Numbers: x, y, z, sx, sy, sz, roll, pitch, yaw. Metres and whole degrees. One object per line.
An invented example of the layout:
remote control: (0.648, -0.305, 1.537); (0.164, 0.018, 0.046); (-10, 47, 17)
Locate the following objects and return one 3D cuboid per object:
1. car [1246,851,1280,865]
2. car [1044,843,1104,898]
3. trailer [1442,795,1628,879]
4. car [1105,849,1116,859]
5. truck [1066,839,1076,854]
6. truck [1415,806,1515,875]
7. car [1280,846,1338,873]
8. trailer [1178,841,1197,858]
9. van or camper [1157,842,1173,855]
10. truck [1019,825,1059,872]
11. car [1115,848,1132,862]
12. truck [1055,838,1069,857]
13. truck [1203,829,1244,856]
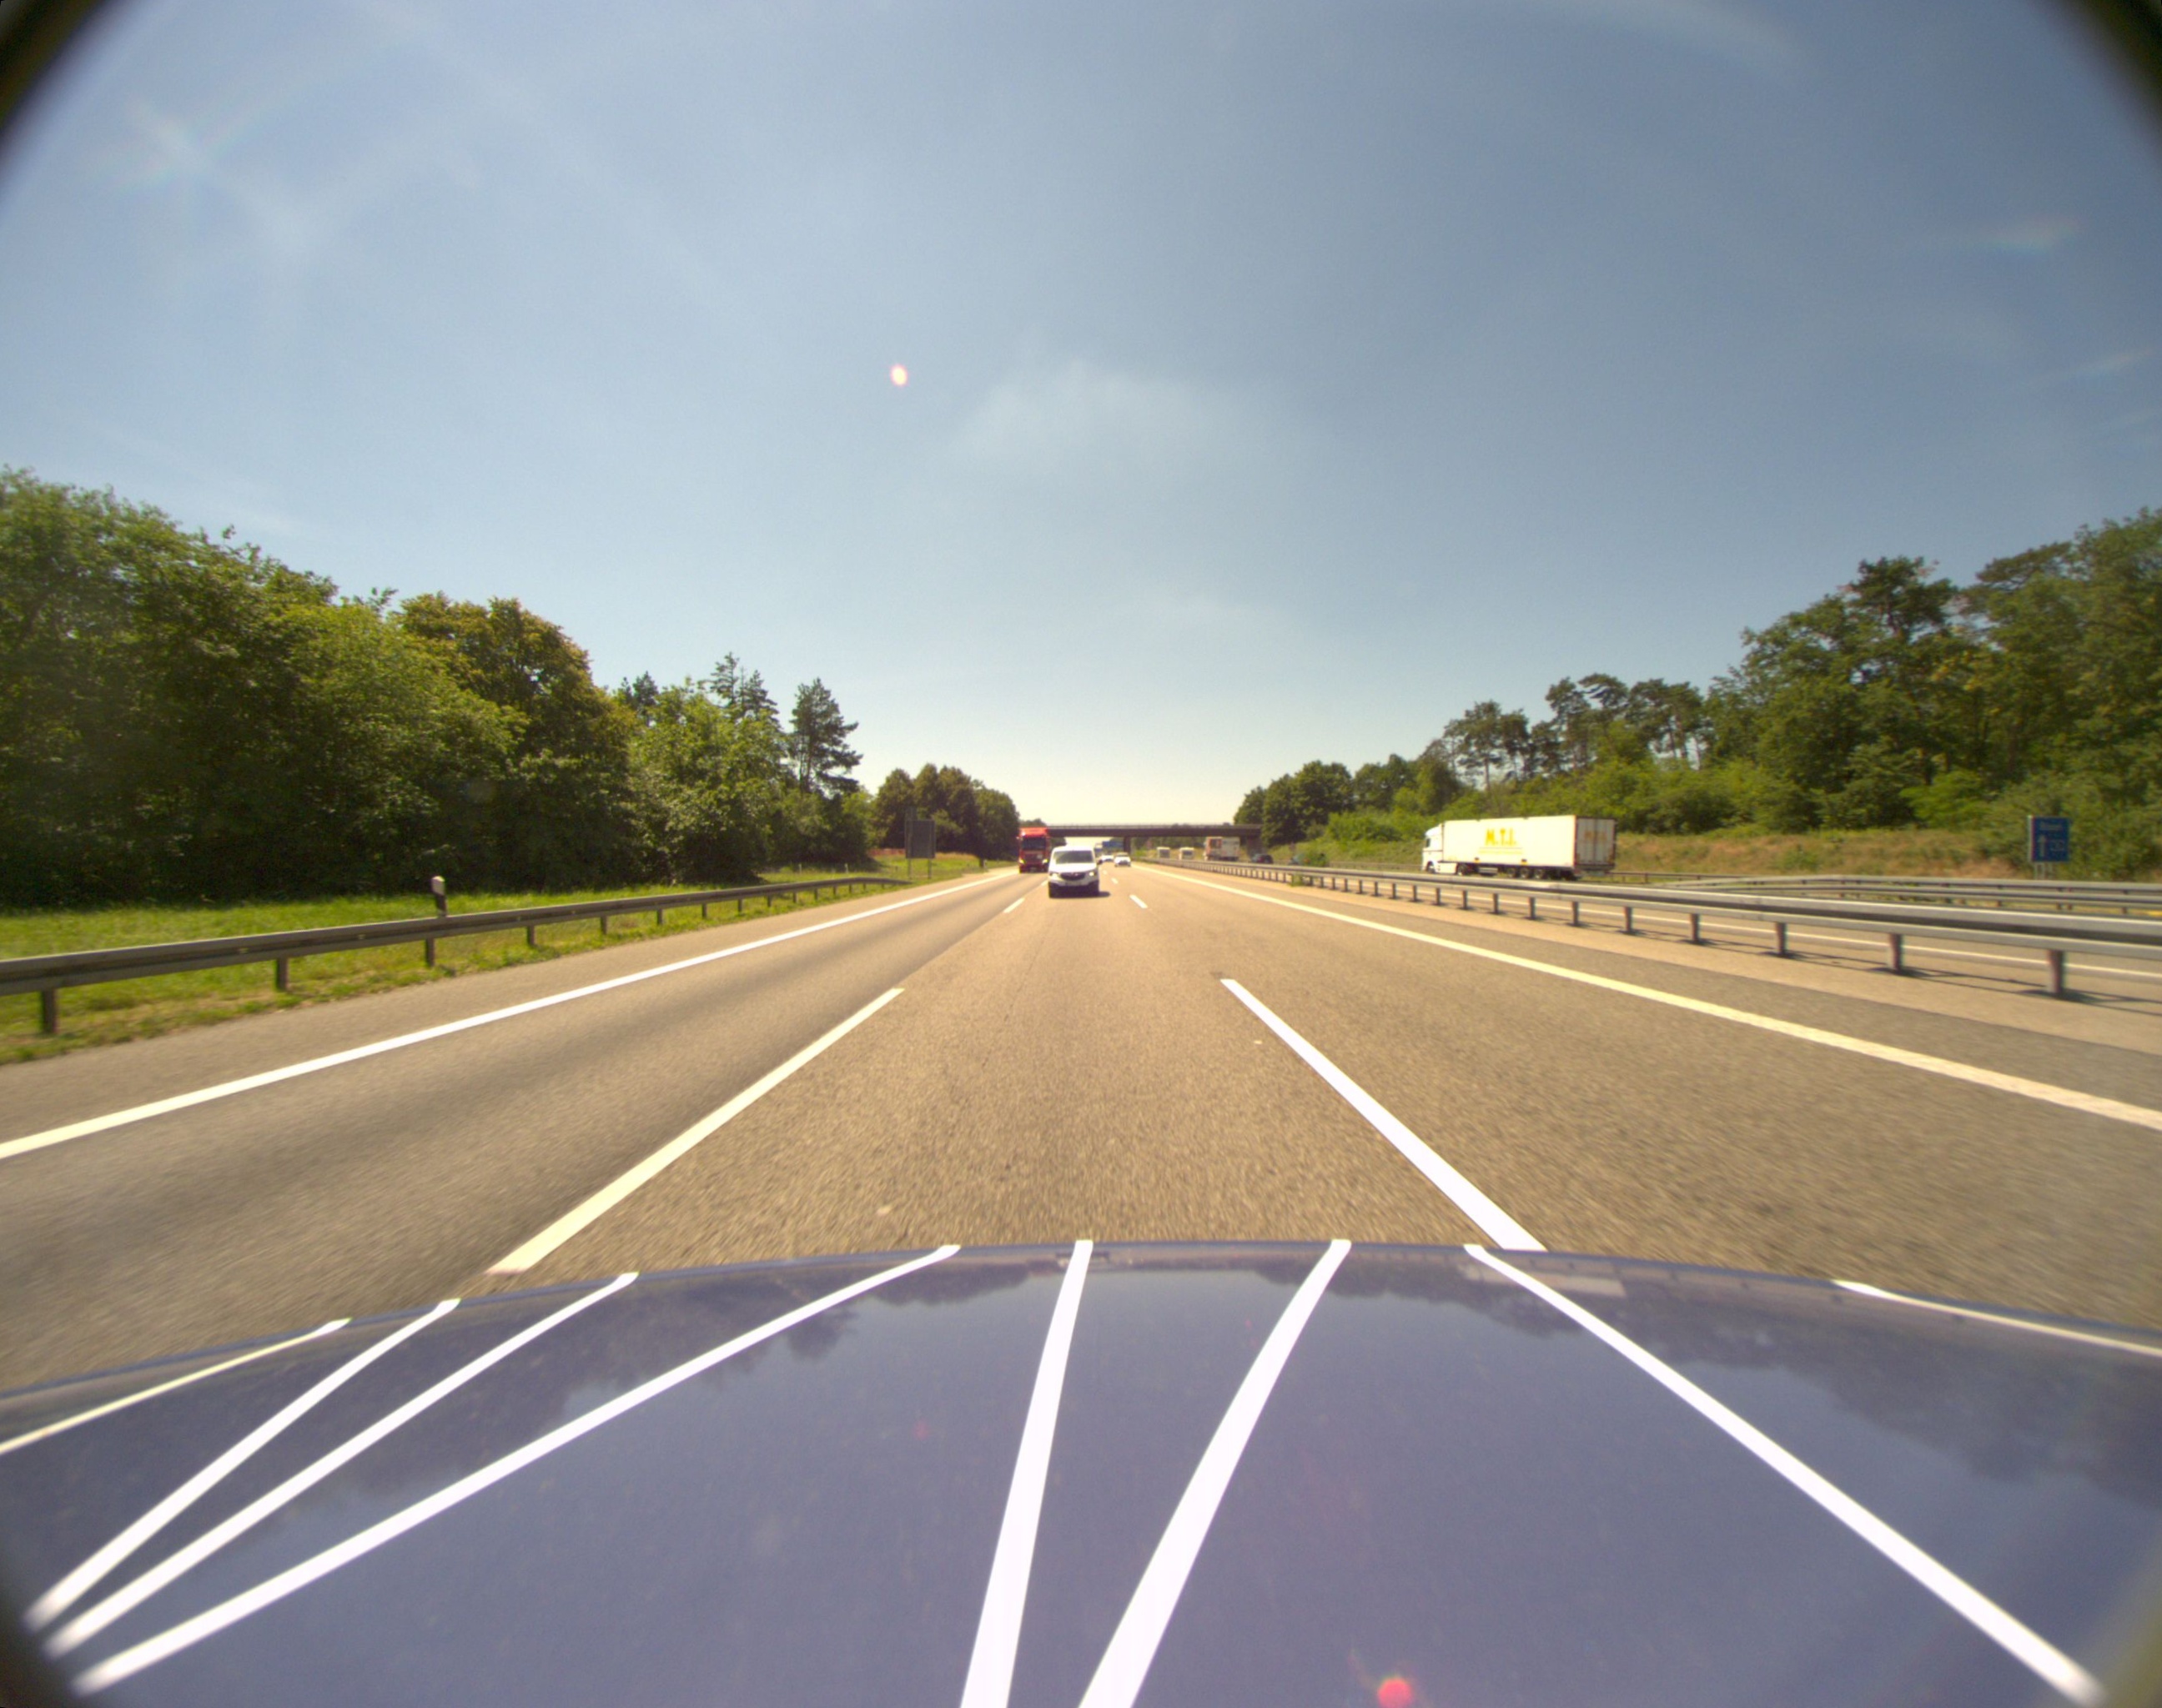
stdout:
car: (18.264, 0.377, 76.347); (2.233, 1.372, 4.890); (1, 0, 0)
car: (-0.160, 0.554, 28.242); (1.870, 1.807, 4.941); (-2, 0, 3)
trailer: (29.830, -0.965, 51.285); (3.080, 4.799, 13.758); (2, 0, -5)
car: (4.568, -0.038, 119.322); (1.581, 1.411, 3.353); (-2, -2, 0)
truck: (-2.880, -2.164, 217.961); (2.603, 3.979, 6.173); (-2, 0, 0)
truck: (29.123, -0.953, 58.111); (3.080, 4.799, 7.711); (2, 0, -5)
car: (13.997, 0.308, 46.938); (2.057, 1.542, 4.890); (1, 0, 0)
trailer: (18.281, -0.744, 130.791); (2.483, 2.731, 5.074); (1, 0, 0)
van or camper: (18.789, -1.202, 169.823); (2.508, 2.794, 8.559); (0, 1, -1)
truck: (-3.682, -0.458, 68.956); (2.687, 3.776, 12.477); (-2, 0, 0)
car: (4.492, 0.100, 80.747); (1.581, 1.411, 3.353); (-2, -1, 0)
truck: (-3.841, -1.370, 155.485); (2.535, 3.712, 6.098); (-2, 0, 0)
truck: (22.133, -1.762, 119.275); (3.334, 3.973, 16.865); (0, 1, 1)
